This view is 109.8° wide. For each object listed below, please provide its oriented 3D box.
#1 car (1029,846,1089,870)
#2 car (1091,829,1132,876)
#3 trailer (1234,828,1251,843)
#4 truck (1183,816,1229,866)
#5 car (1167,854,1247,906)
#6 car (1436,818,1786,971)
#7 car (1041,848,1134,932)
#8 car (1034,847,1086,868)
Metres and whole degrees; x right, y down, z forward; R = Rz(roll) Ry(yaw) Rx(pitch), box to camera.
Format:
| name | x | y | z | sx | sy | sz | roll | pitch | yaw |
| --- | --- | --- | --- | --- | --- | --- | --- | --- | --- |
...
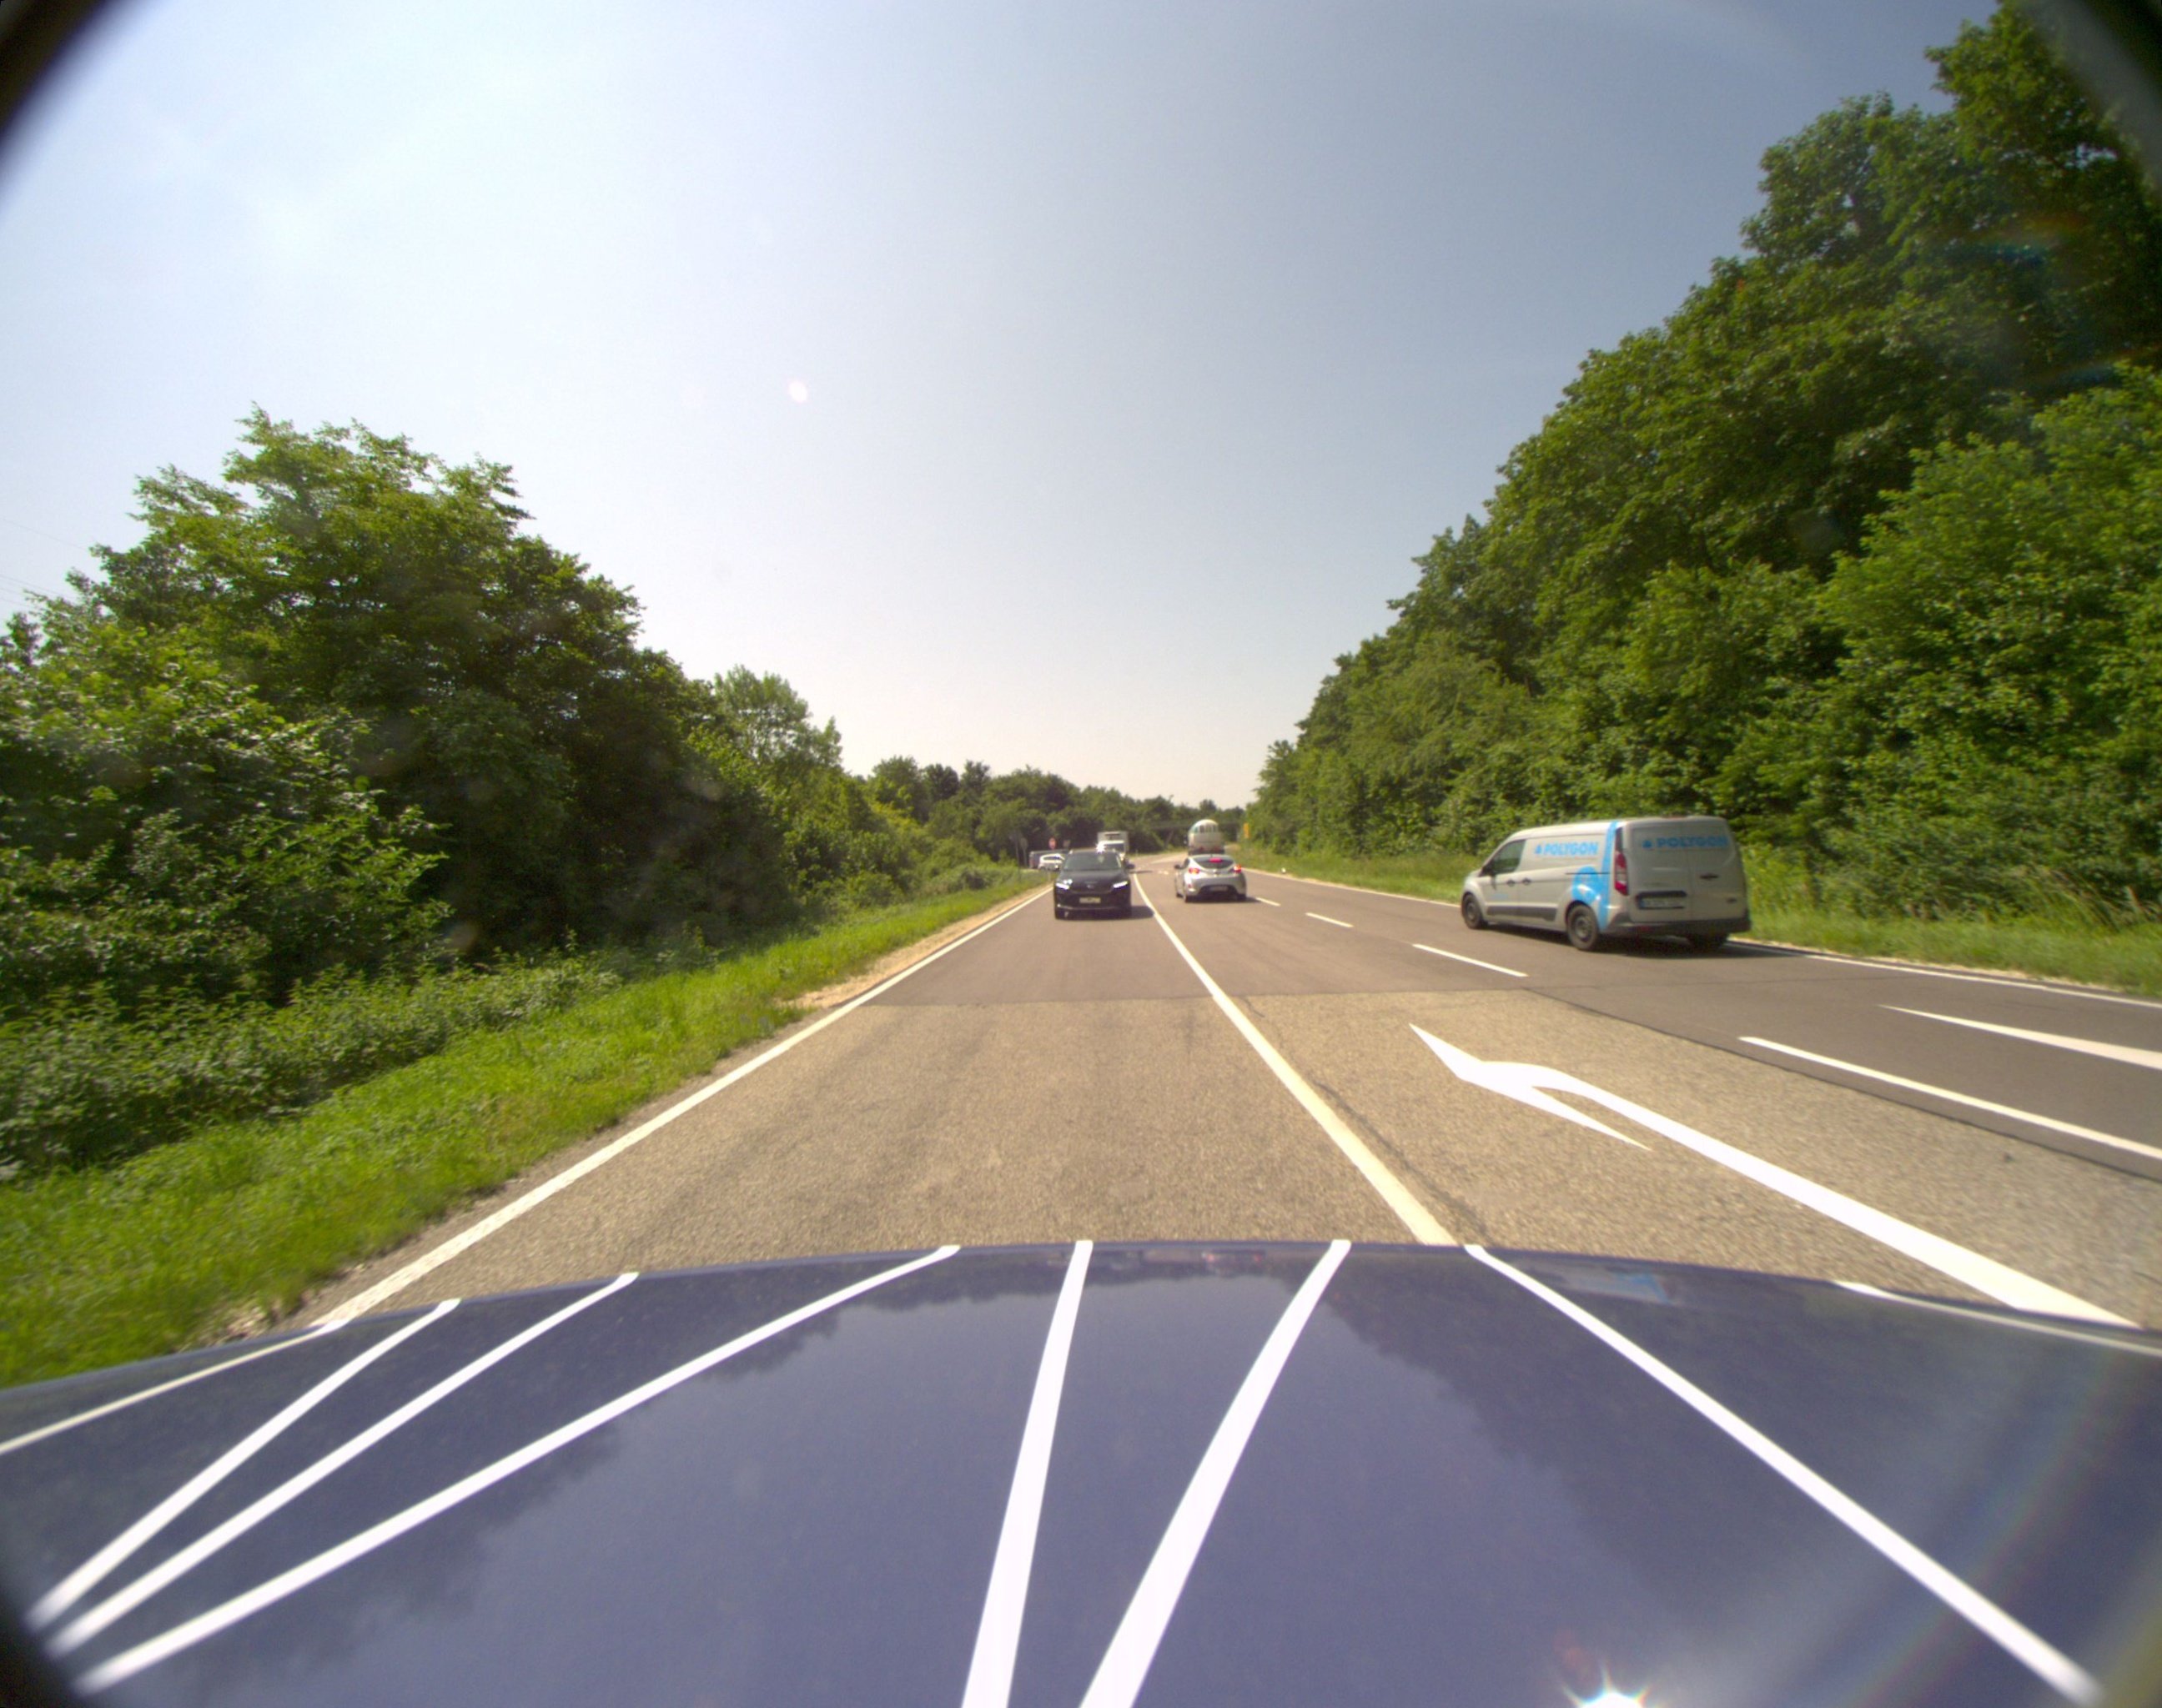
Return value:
| name | x | y | z | sx | sy | sz | roll | pitch | yaw |
| --- | --- | --- | --- | --- | --- | --- | --- | --- | --- |
| car | -2.050 | 0.368 | 70.249 | 5.231 | 1.896 | 2.011 | -3 | 2 | -12 |
| car | 2.252 | -0.180 | 53.891 | 2.591 | 3.047 | 6.881 | -2 | 1 | 3 |
| trailer | 43.724 | -5.022 | 205.453 | 2.831 | 4.072 | 9.013 | -2 | 1 | 23 |
| truck | 9.991 | -1.024 | 61.554 | 2.633 | 3.650 | 8.796 | -2 | 1 | 3 |
| car | 3.834 | 0.786 | 23.768 | 1.713 | 1.411 | 4.098 | -2 | -1 | -1 |
| car | 7.542 | 0.492 | 11.617 | 1.847 | 1.769 | 4.893 | -2 | 0 | -1 |
| car | 0.284 | 0.786 | 18.811 | 1.924 | 1.711 | 5.480 | -2 | -1 | 3 |
| car | -1.766 | 0.335 | 64.125 | 3.983 | 1.571 | 1.849 | -3 | 0 | 32 |
